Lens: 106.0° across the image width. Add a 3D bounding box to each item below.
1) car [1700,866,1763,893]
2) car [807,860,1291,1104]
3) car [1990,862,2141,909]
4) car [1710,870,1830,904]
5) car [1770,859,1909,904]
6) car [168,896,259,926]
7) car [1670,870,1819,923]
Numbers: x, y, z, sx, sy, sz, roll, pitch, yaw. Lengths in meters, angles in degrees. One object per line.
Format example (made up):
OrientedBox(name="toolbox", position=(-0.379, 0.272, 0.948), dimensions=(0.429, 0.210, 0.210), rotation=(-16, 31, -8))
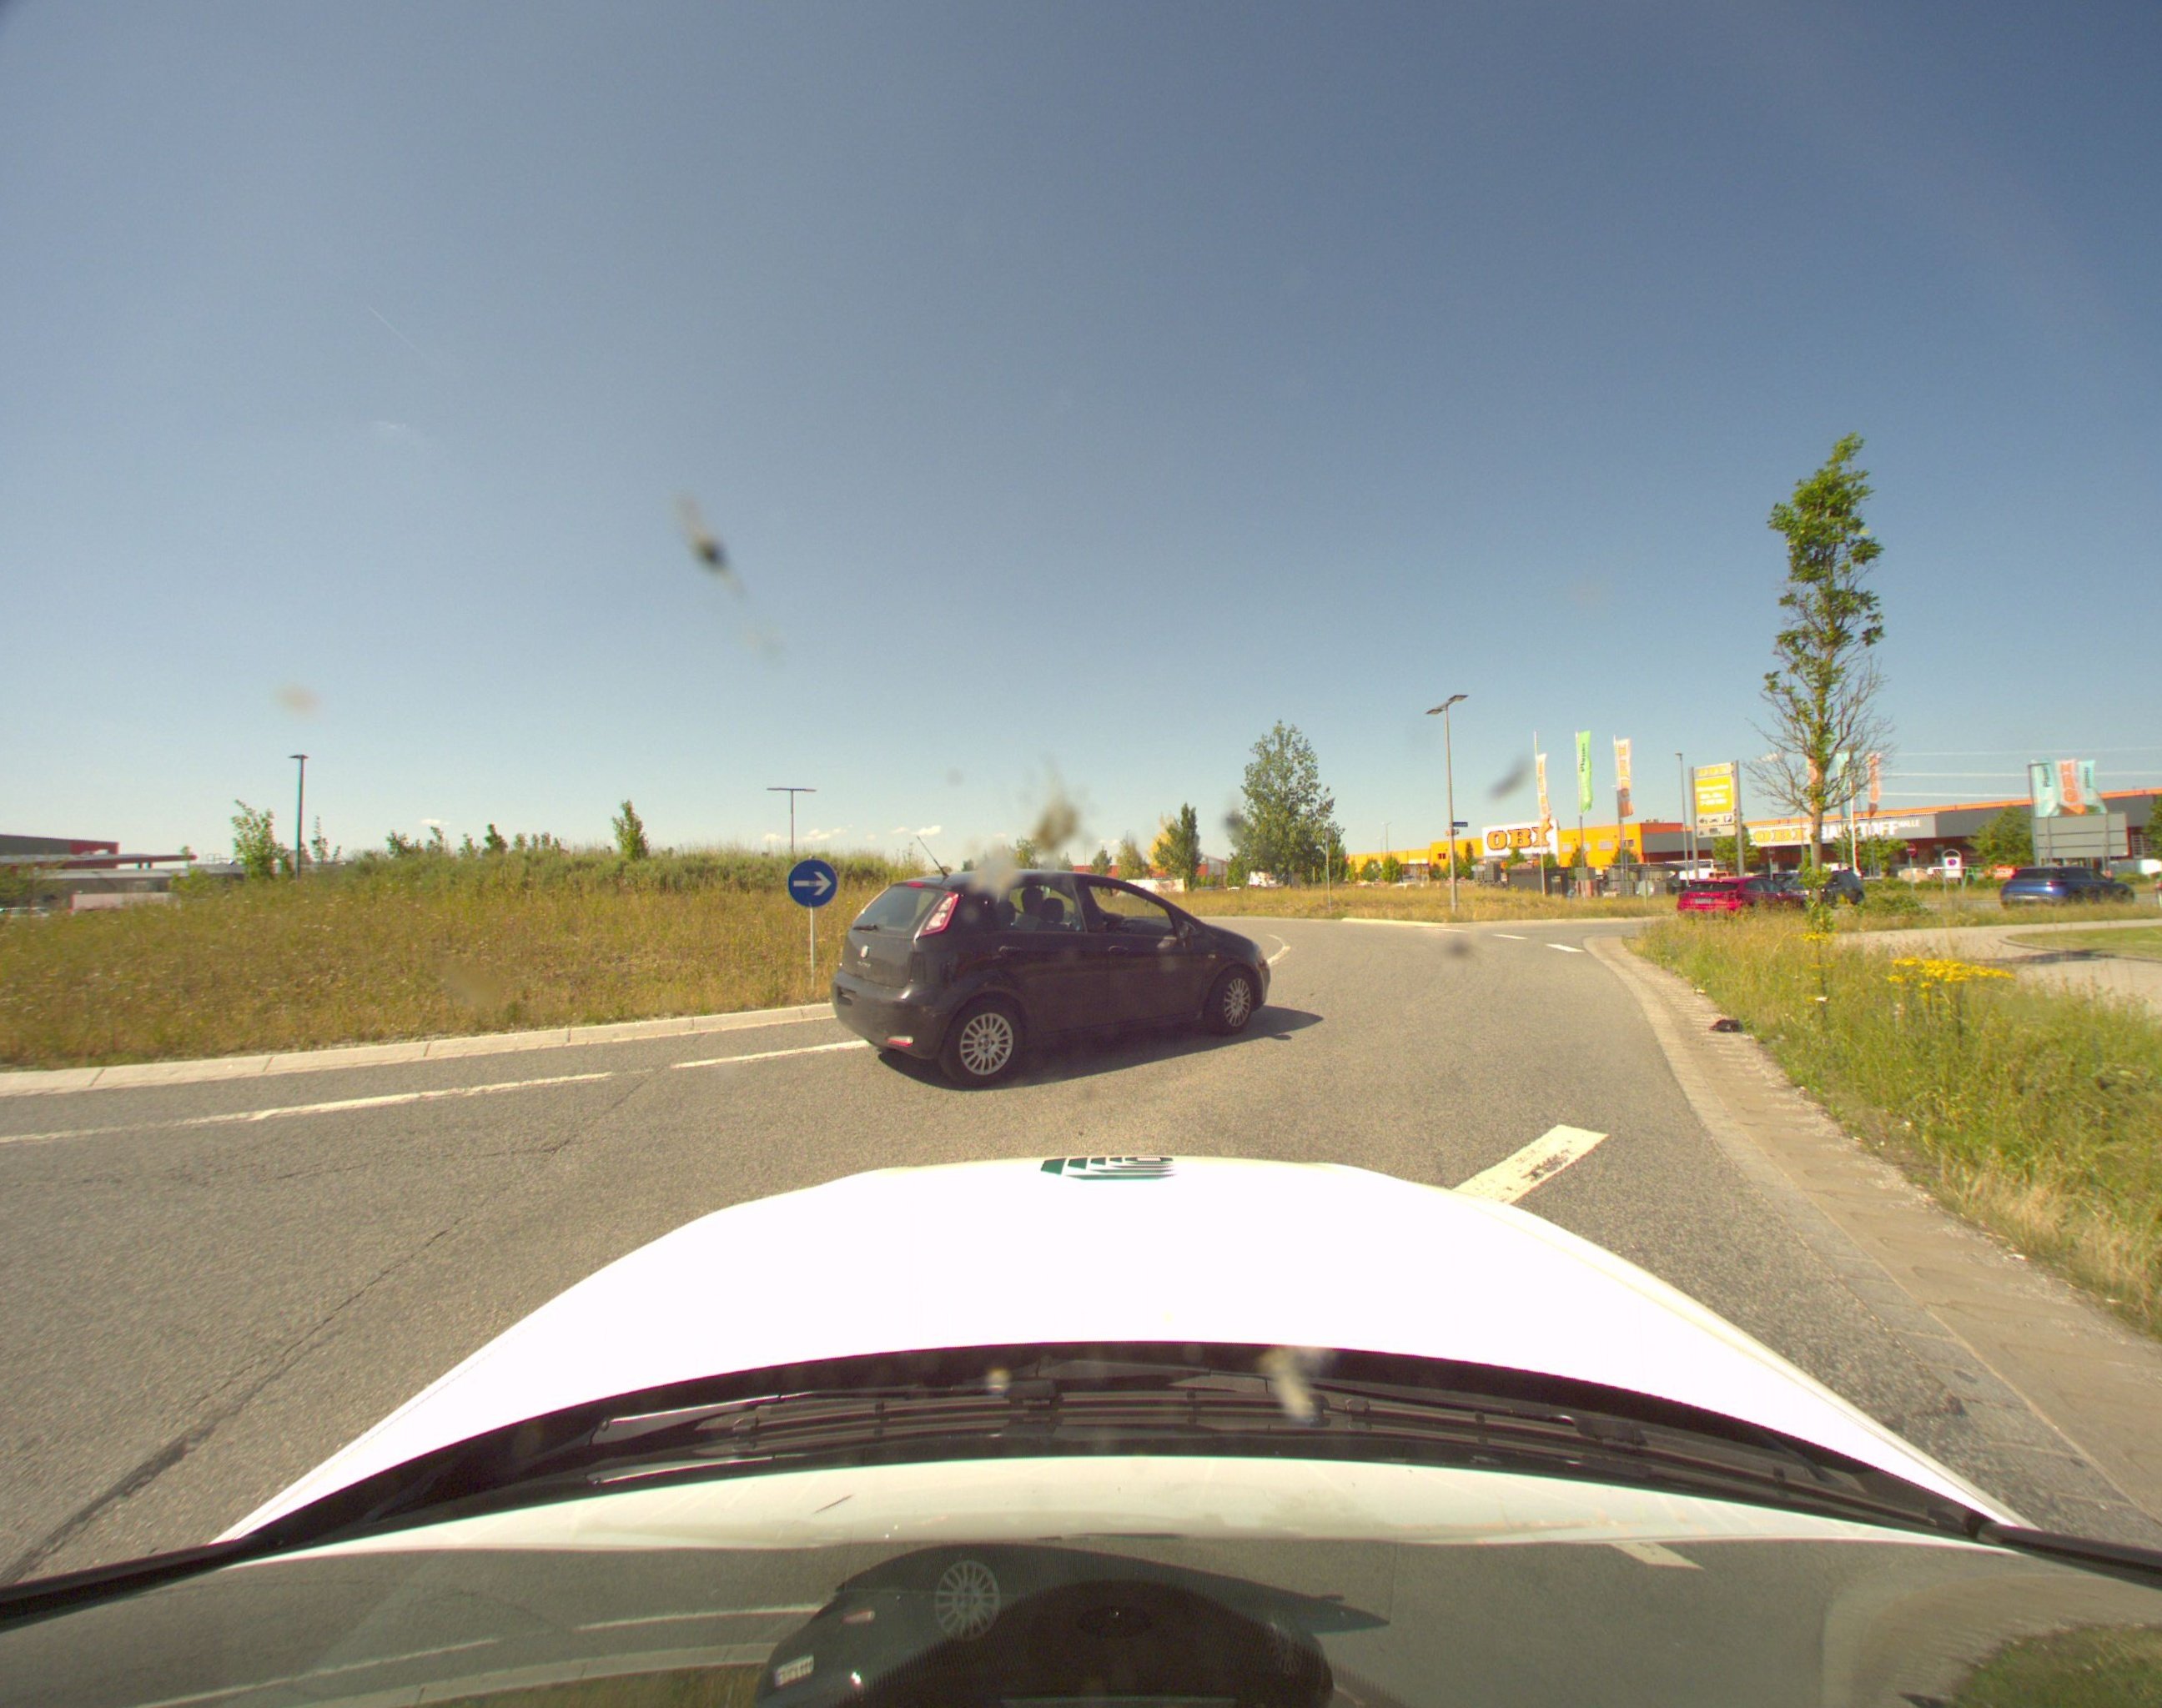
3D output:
OrientedBox(name="car", position=(46.320, 1.872, 58.032), dimensions=(3.772, 1.841, 1.690), rotation=(1, -3, -18))
OrientedBox(name="car", position=(-0.118, 0.837, 6.988), dimensions=(3.923, 1.488, 1.626), rotation=(0, -1, -38))
OrientedBox(name="car", position=(35.786, 1.127, 29.641), dimensions=(4.071, 1.635, 1.848), rotation=(0, -2, -13))
OrientedBox(name="car", position=(36.823, 1.806, 43.714), dimensions=(2.071, 1.627, 4.681), rotation=(-1, -4, -9))
OrientedBox(name="car", position=(31.653, 1.157, 34.023), dimensions=(4.617, 1.706, 1.948), rotation=(-1, -4, -13))
OrientedBox(name="car", position=(-62.273, 4.049, 58.613), dimensions=(1.997, 2.014, 5.109), rotation=(-1, -3, -15))
OrientedBox(name="car", position=(19.776, 1.230, 24.271), dimensions=(4.123, 1.416, 1.793), rotation=(0, -2, -25))
